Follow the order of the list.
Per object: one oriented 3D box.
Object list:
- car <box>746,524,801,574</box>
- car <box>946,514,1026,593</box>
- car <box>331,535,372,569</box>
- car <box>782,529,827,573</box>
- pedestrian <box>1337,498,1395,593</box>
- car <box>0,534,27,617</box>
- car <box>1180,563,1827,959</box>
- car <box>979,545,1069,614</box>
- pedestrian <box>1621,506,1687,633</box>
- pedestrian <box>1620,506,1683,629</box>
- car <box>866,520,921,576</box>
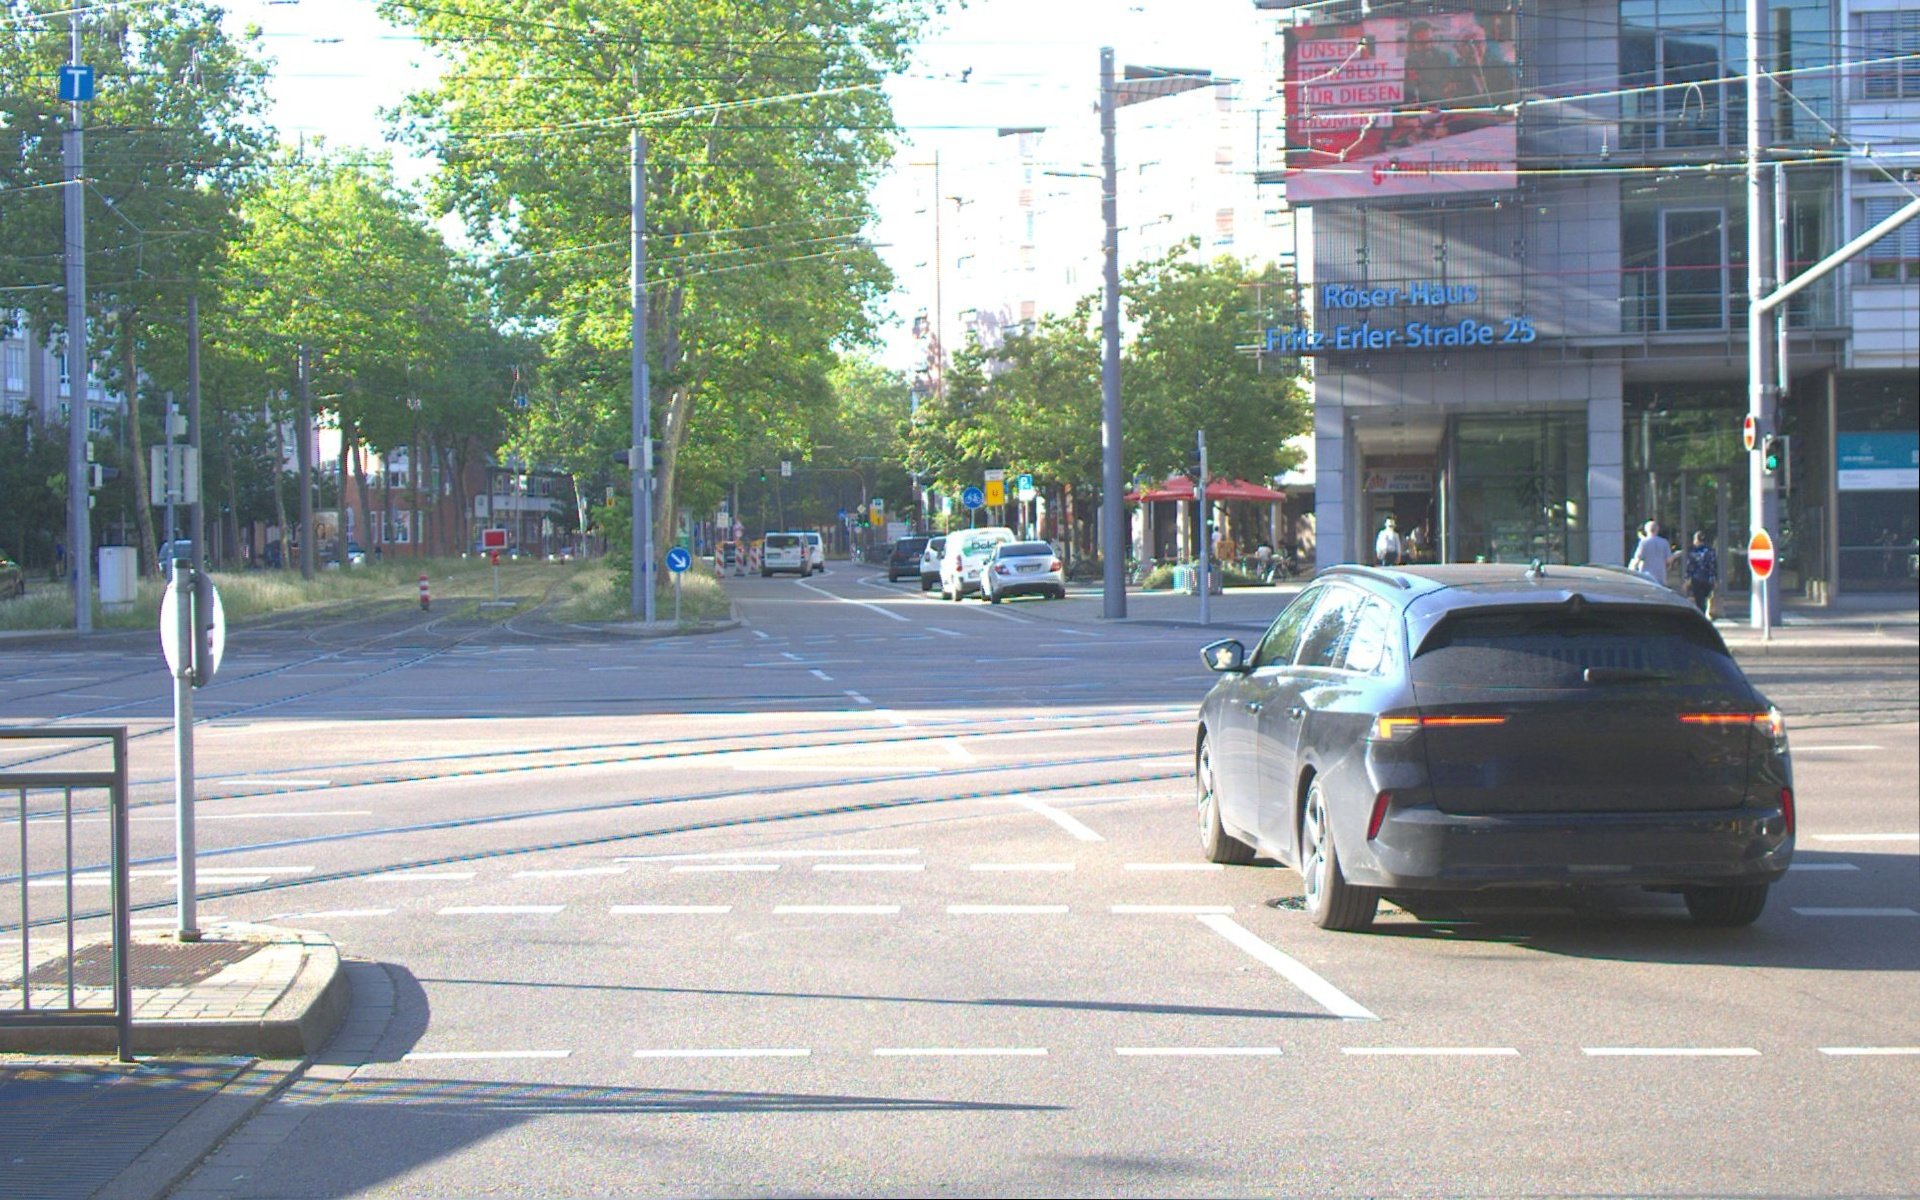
[{"bbox_3d":[-7.753,-2.120,143.356,1.993,2.007,4.000,1,0,1],"label":"car"},{"bbox_3d":[0.653,-1.204,89.610,1.993,2.007,4.000,1,1,-1],"label":"car"},{"bbox_3d":[-29.402,-2.318,166.169,1.676,1.601,4.001,1,1,-6],"label":"car"},{"bbox_3d":[-7.242,-2.268,160.561,1.993,2.007,4.000,1,1,-2],"label":"car"},{"bbox_3d":[9.517,-1.272,80.611,1.313,2.182,1.170,1,0,6],"label":"pedestrian"},{"bbox_3d":[-21.628,-0.537,75.030,1.822,1.784,4.001,-1,1,-7],"label":"car"},{"bbox_3d":[2.111,0.559,14.602,1.763,1.399,4.297,0,1,-4],"label":"car"},{"bbox_3d":[1.520,-0.498,82.754,2.029,1.590,4.000,1,1,-1],"label":"car"},{"bbox_3d":[11.096,-0.483,54.981,0.869,2.007,0.794,1,0,-1],"label":"pedestrian"},{"bbox_3d":[11.359,-0.533,56.515,0.849,2.007,0.708,1,0,-1],"label":"pedestrian"},{"bbox_3d":[-2.433,-1.914,126.616,1.993,2.007,4.000,1,1,-1],"label":"car"}]
